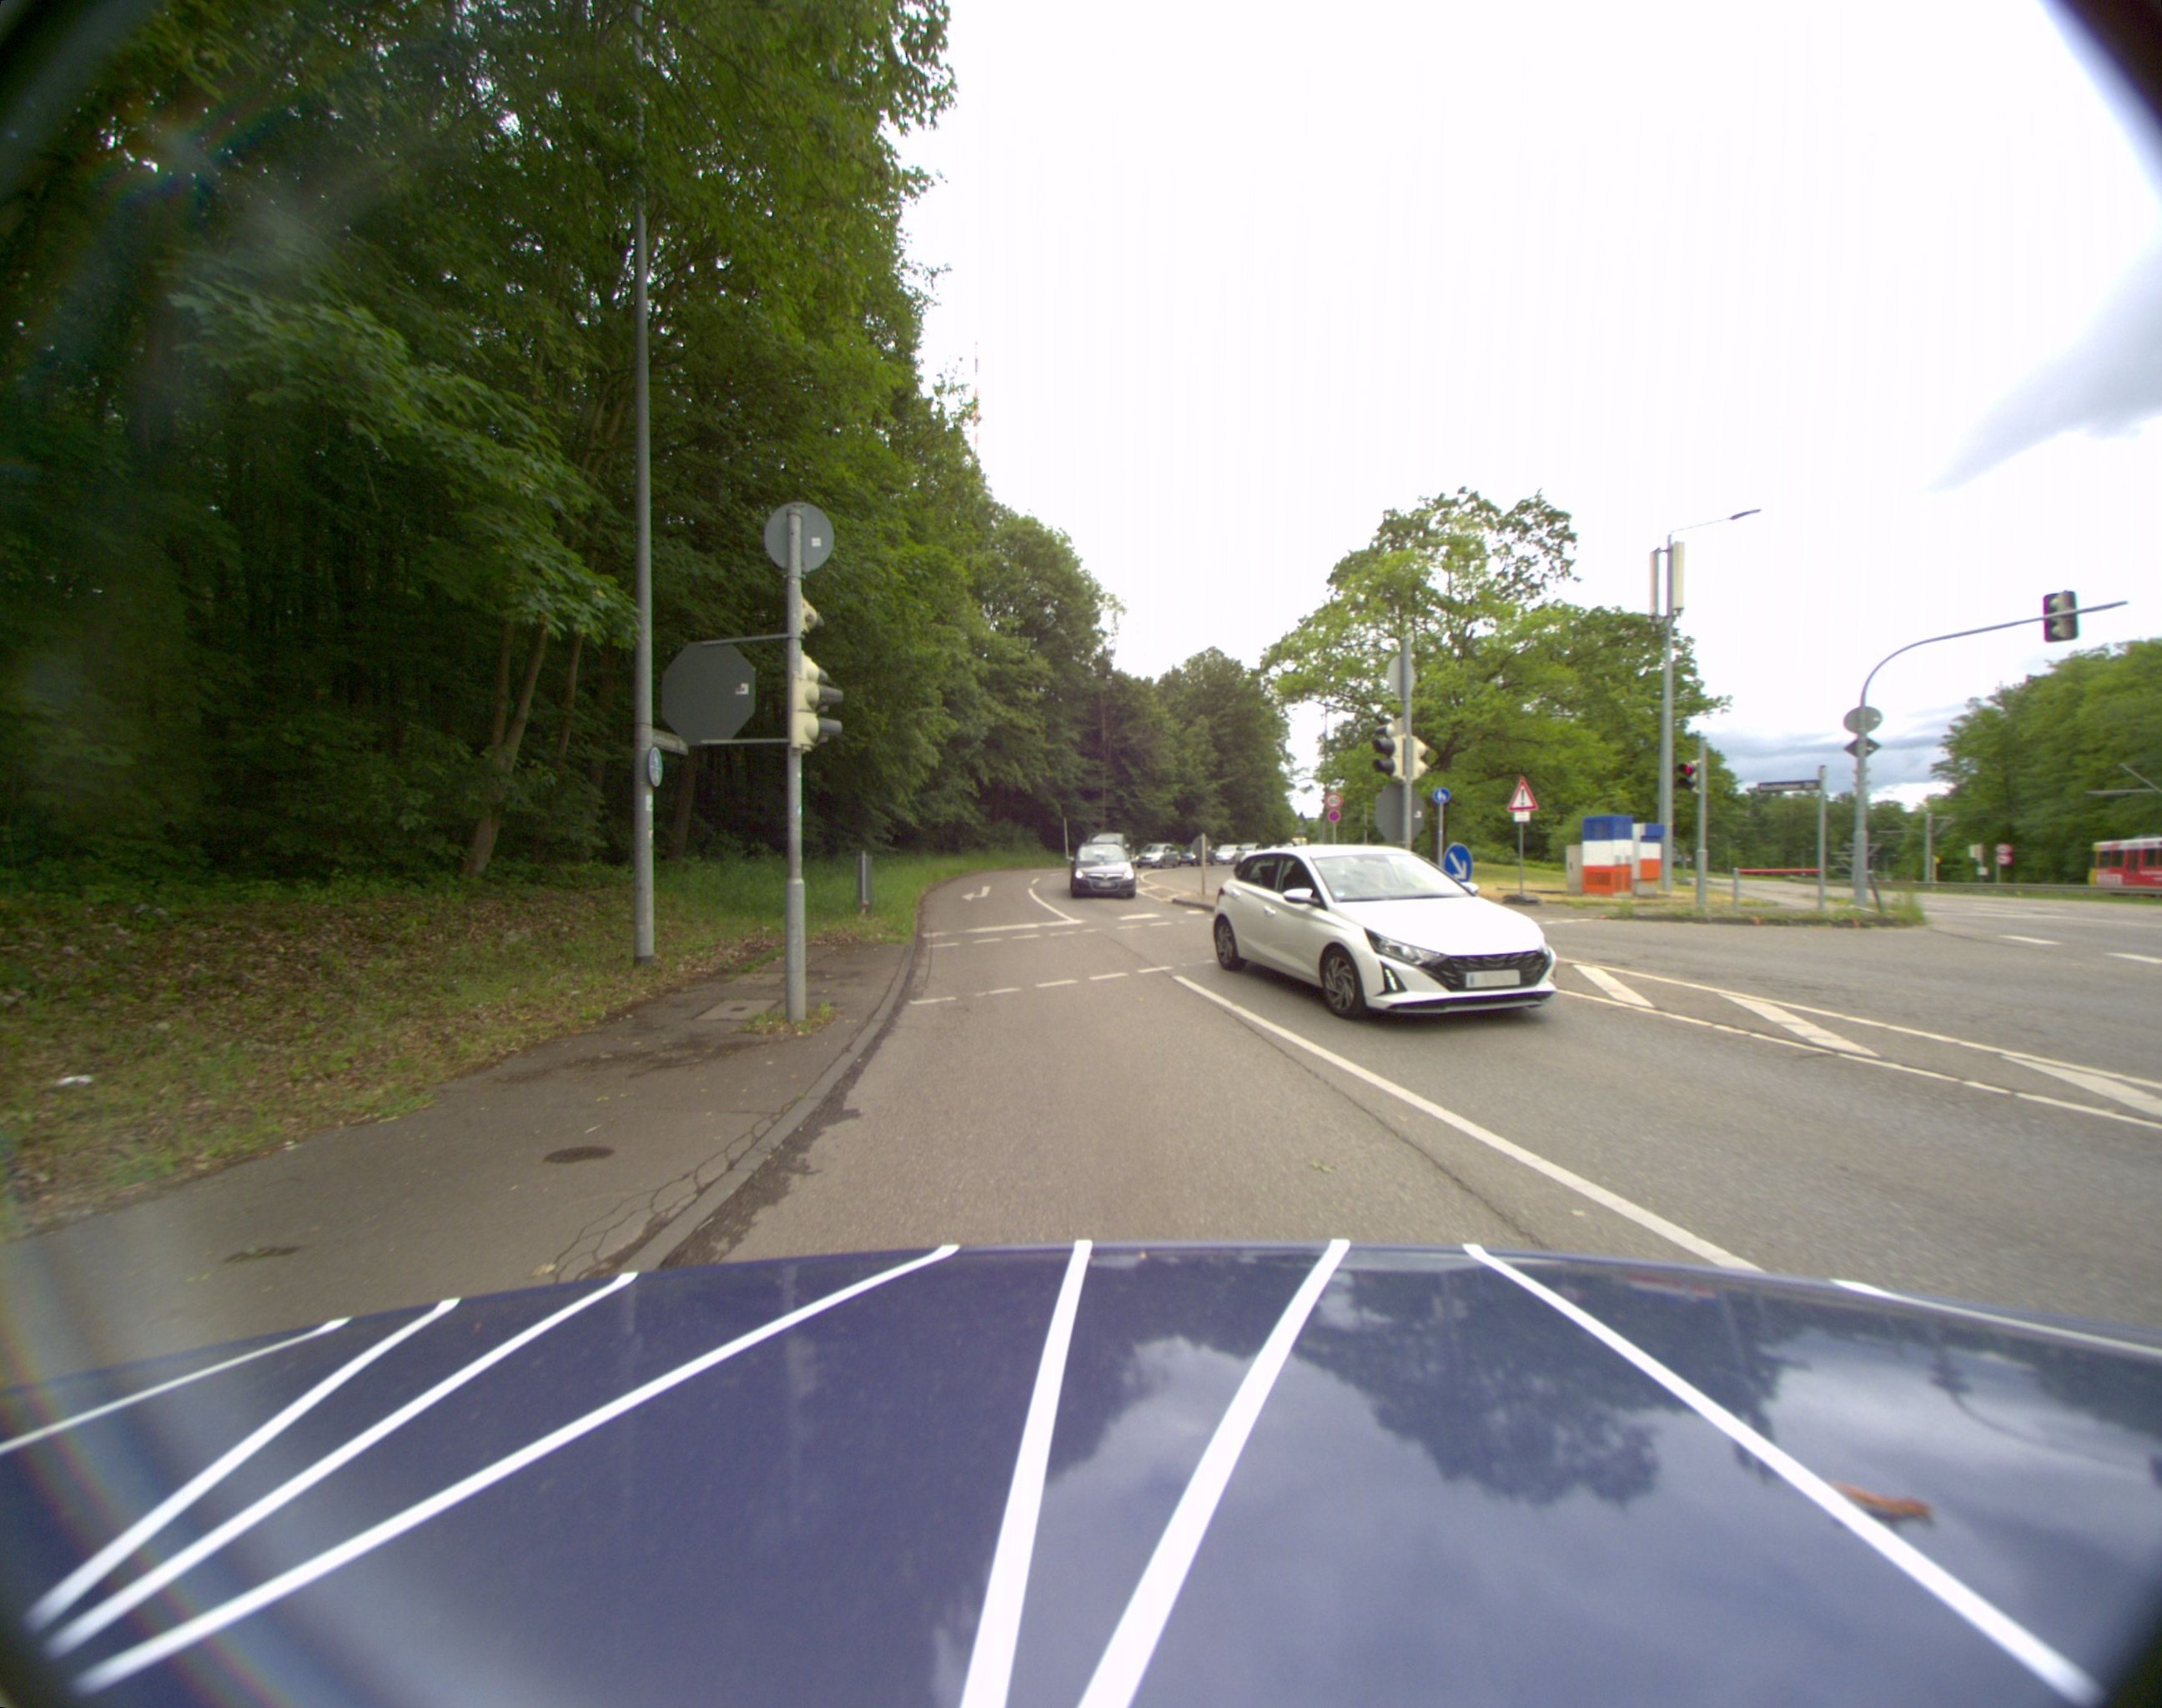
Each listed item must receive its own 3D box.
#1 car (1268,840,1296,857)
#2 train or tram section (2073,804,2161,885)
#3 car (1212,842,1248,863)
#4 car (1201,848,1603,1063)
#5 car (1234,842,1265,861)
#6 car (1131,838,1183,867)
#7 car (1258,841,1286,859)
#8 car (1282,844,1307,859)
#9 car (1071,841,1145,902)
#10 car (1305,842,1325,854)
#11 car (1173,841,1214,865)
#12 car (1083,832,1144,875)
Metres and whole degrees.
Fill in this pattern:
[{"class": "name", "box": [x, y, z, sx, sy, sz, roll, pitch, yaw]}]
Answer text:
[{"class": "car", "box": [19.185, -0.542, 72.362, 1.775, 1.491, 3.879, 2, 1, 26]}, {"class": "train or tram section", "box": [61.169, -0.515, 41.714, 2.956, 4.394, 18.764, 3, 3, 37]}, {"class": "car", "box": [11.064, -0.124, 56.121, 1.775, 1.491, 3.879, 2, 1, 23]}, {"class": "car", "box": [2.718, 0.727, 7.595, 1.655, 1.471, 4.068, 1, 1, -12]}, {"class": "car", "box": [13.718, -0.223, 61.718, 1.775, 1.491, 3.879, 2, 1, 23]}, {"class": "car", "box": [4.595, -0.108, 45.554, 1.789, 1.664, 3.998, 1, 1, 27]}, {"class": "car", "box": [16.888, -0.353, 66.943, 1.775, 1.491, 3.879, 2, 1, 23]}, {"class": "car", "box": [22.371, -0.280, 79.467, 1.775, 1.491, 3.879, 2, 1, 26]}, {"class": "car", "box": [0.644, 0.406, 21.172, 1.803, 1.471, 4.468, 1, 1, -1]}, {"class": "car", "box": [29.014, -0.756, 94.107, 1.775, 1.491, 3.879, 2, 1, 26]}, {"class": "car", "box": [7.697, -0.102, 51.649, 1.775, 1.491, 3.879, 2, 1, 23]}, {"class": "car", "box": [1.653, -0.065, 36.536, 1.988, 1.862, 4.536, 2, 1, 15]}]
